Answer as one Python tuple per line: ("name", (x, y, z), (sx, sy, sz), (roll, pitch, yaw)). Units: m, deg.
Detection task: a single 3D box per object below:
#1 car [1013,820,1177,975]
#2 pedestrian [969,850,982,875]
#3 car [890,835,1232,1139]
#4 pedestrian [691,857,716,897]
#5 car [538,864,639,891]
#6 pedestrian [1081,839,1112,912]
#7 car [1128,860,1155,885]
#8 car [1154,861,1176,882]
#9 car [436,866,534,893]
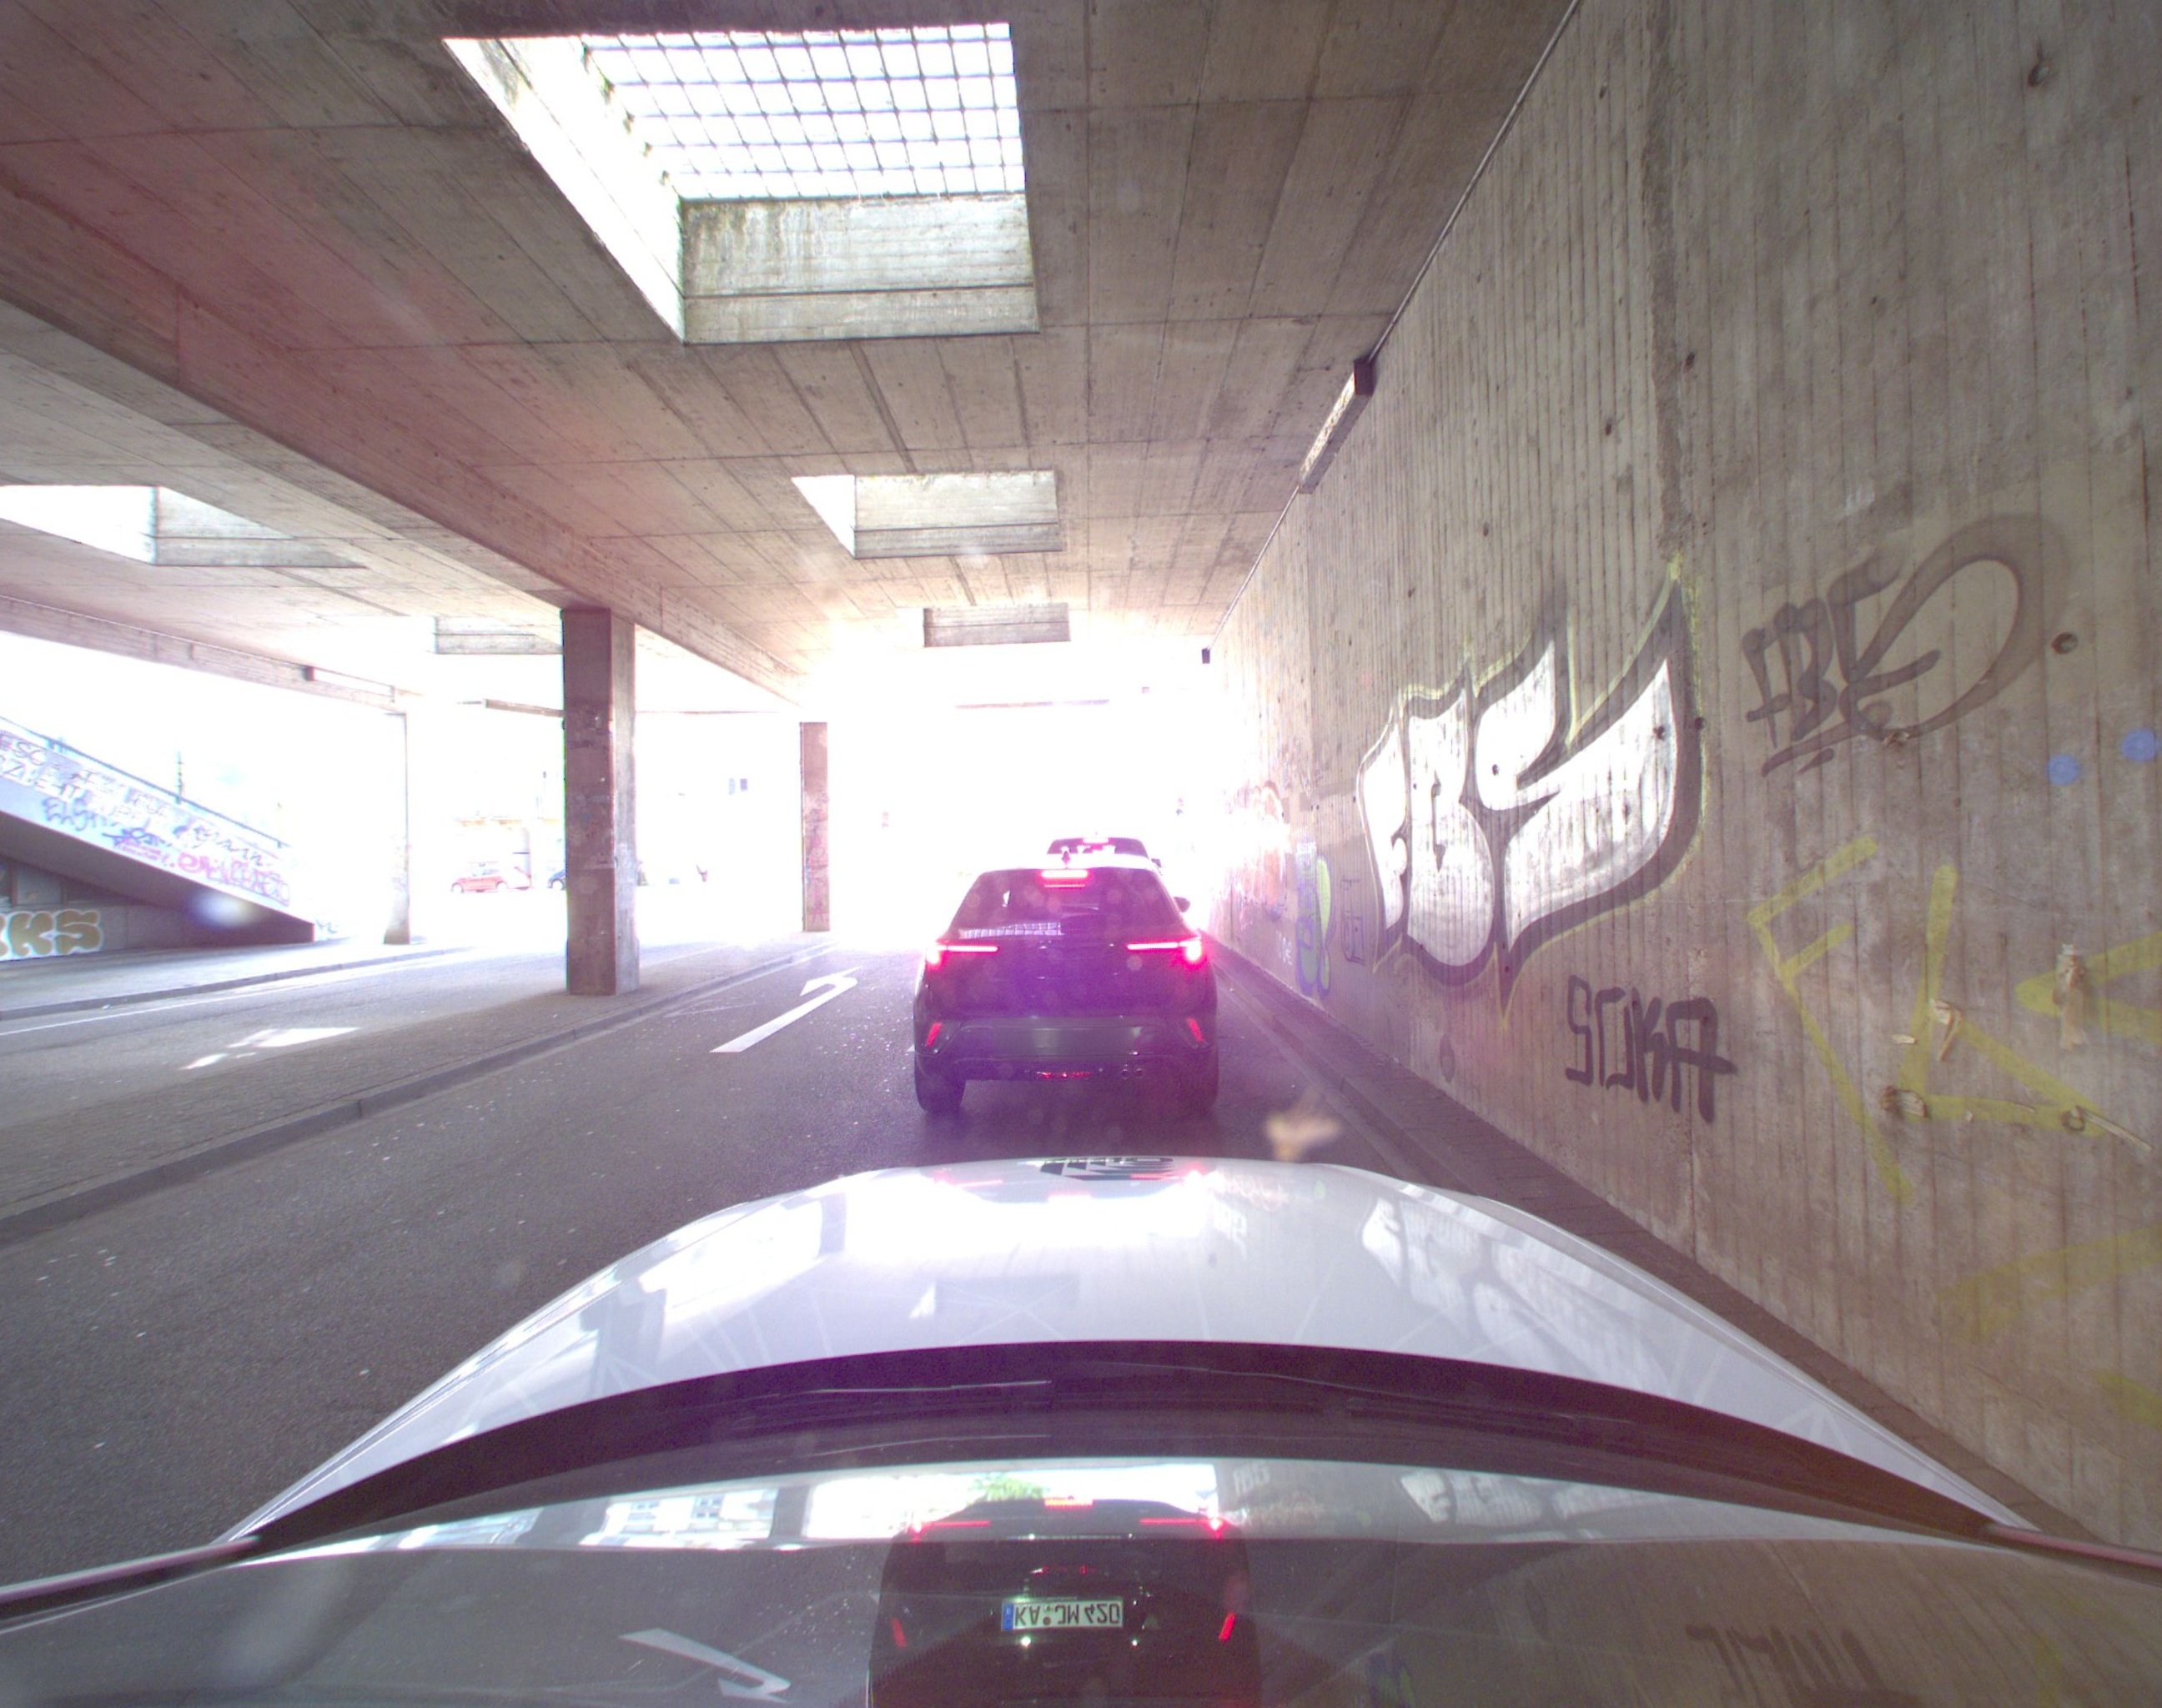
("car", (0.233, 0.544, 12.117), (1.986, 1.871, 4.002), (-2, 0, 2))
("pedestrian", (-8.827, 0.685, 68.384), (0.887, 2.088, 0.810), (0, -1, 9))
("car", (-0.039, 0.653, 6.212), (1.758, 1.571, 4.002), (0, 1, 2))
("pedestrian", (-15.412, 0.931, 33.247), (0.669, 1.637, 0.741), (0, -1, 1))
("car", (-27.295, 1.281, 45.226), (4.393, 1.409, 1.925), (0, -1, -1))
("pedestrian", (0.383, 0.520, 19.984), (0.728, 1.734, 0.874), (0, -1, 1))
("car", (4.909, 1.474, 65.594), (1.983, 1.970, 4.172), (0, -1, 7))
("car", (8.069, 1.679, 78.262), (1.983, 1.970, 4.172), (0, -1, 7))
("car", (-33.036, 1.400, 45.210), (3.975, 1.409, 1.925), (0, -1, -1))
